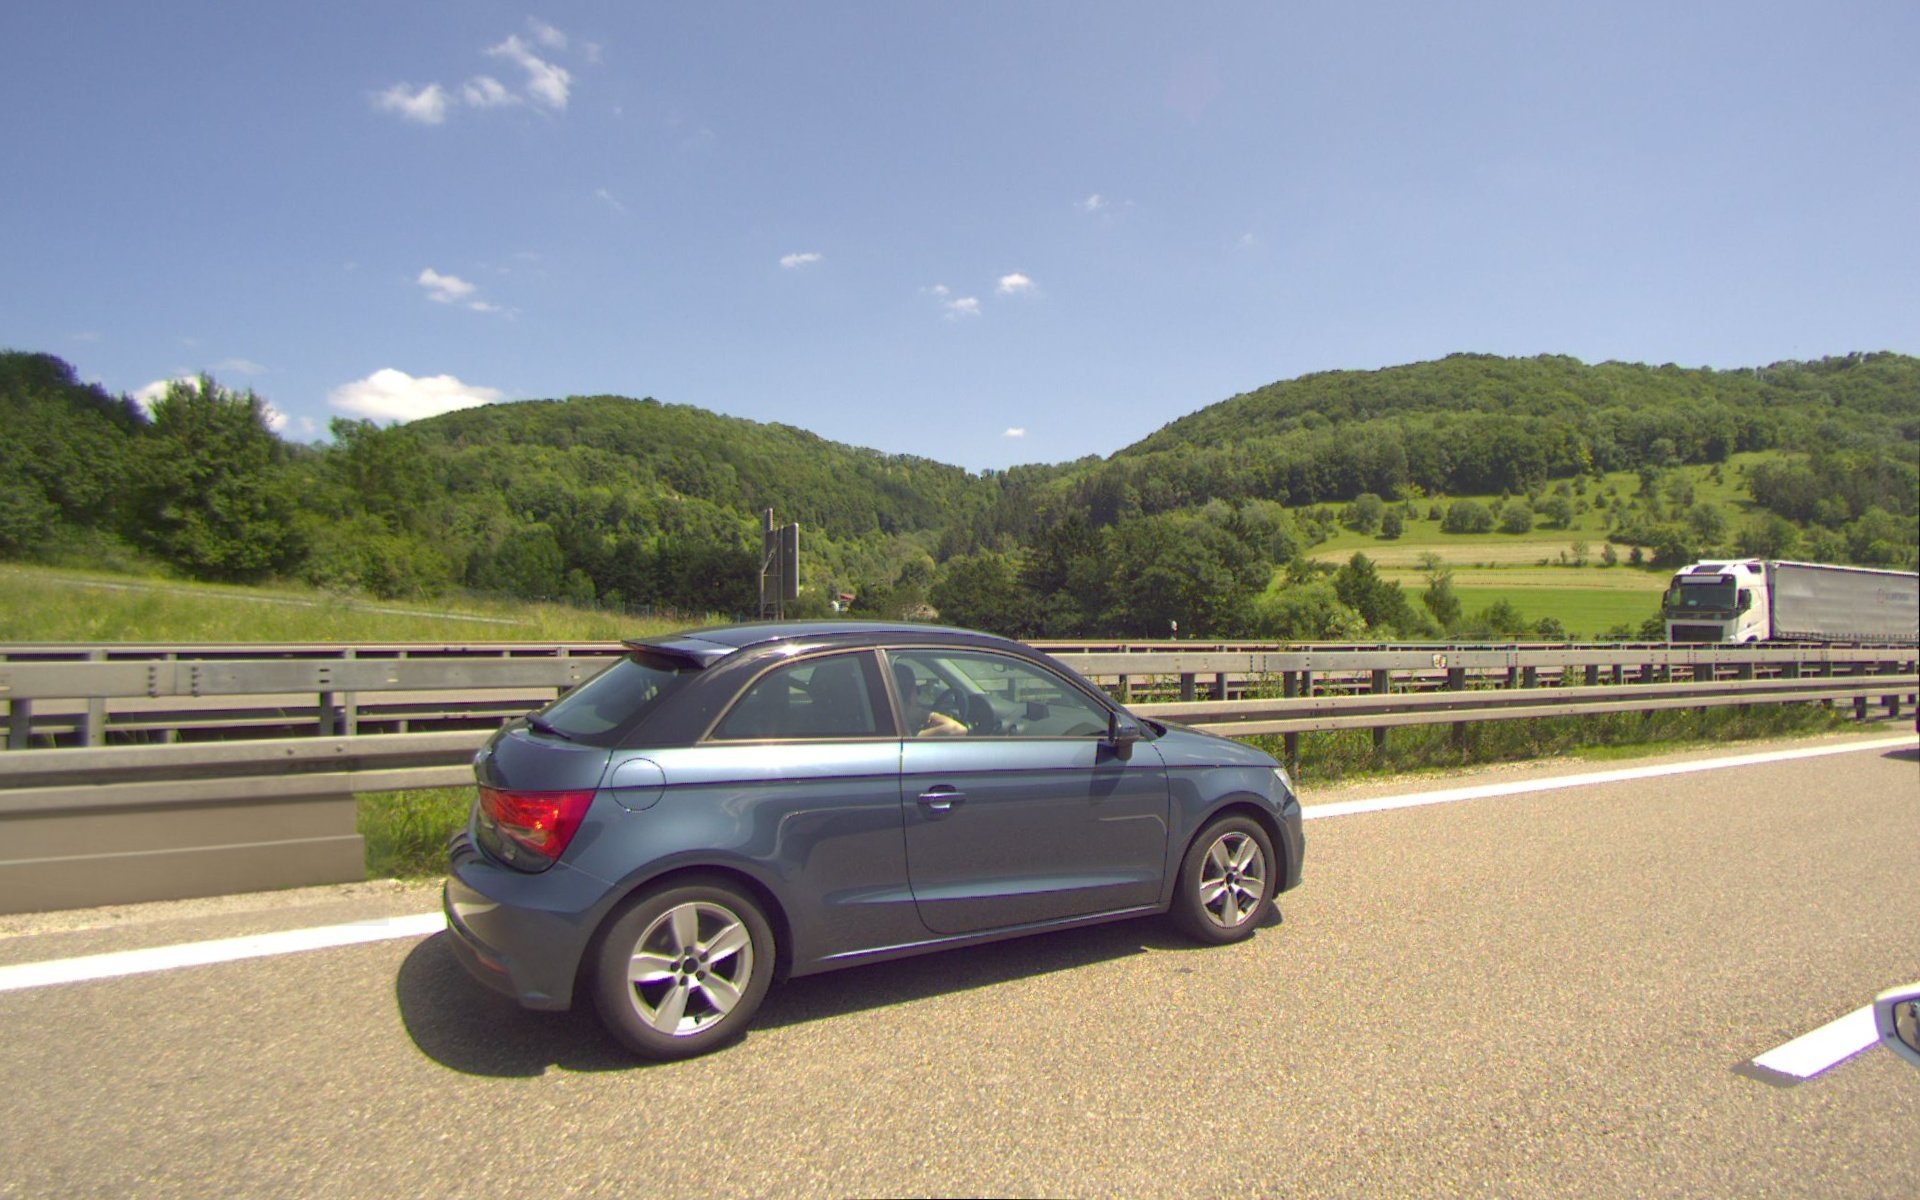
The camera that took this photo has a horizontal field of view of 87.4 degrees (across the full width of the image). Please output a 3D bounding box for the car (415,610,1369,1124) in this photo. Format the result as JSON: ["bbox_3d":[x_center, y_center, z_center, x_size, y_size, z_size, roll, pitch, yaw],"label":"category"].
[{"bbox_3d":[-0.165,0.783,4.512,3.954,1.407,1.680,1,-1,-31],"label":"car"}]

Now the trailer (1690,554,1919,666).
[{"bbox_3d":[35.959,0.574,42.478,13.451,4.247,2.842,2,0,-29],"label":"trailer"}]

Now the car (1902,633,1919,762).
[{"bbox_3d":[13.026,1.117,11.609,4.910,1.409,1.792,1,-1,-30],"label":"car"}]

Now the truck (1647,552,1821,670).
[{"bbox_3d":[30.449,0.493,39.460,7.144,4.288,2.785,2,0,-29],"label":"truck"}]
